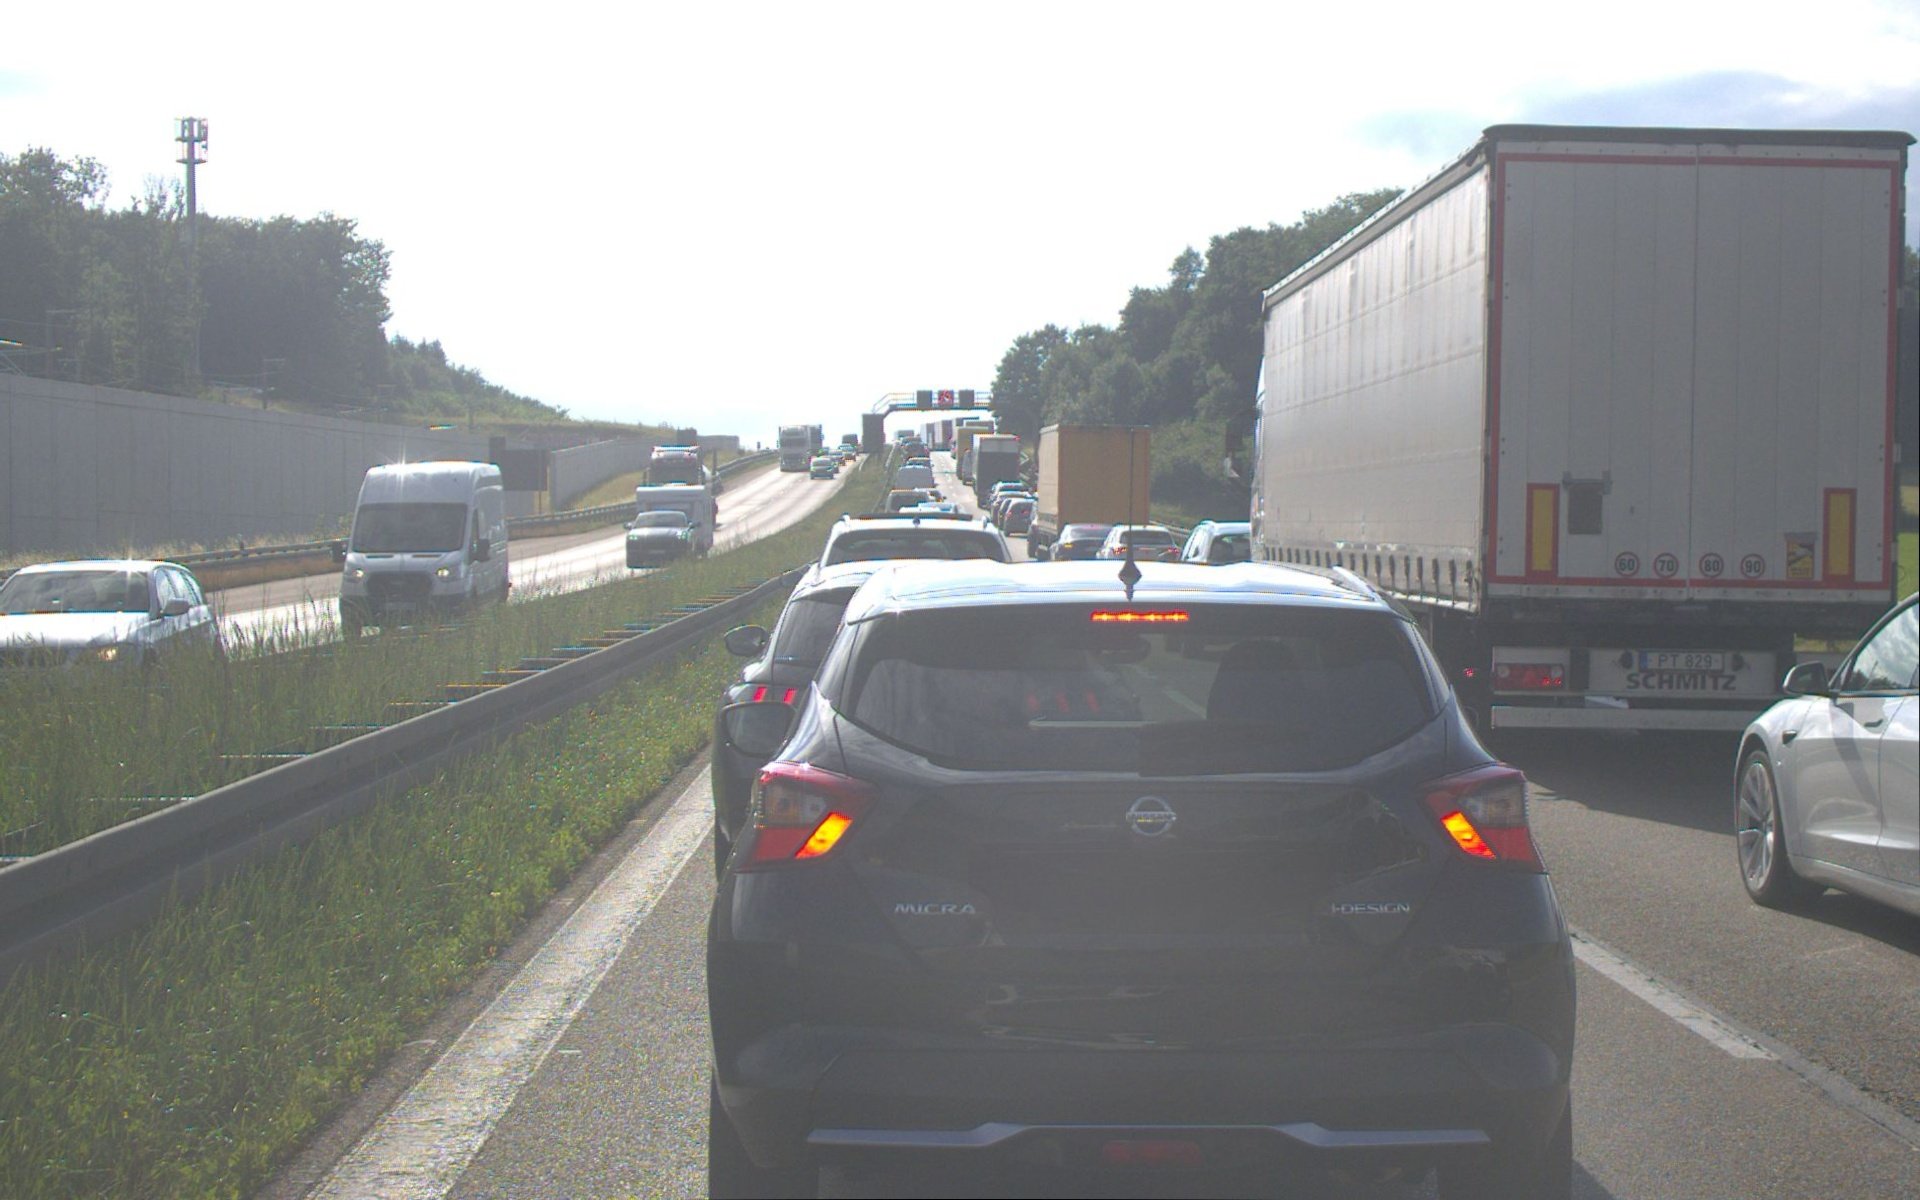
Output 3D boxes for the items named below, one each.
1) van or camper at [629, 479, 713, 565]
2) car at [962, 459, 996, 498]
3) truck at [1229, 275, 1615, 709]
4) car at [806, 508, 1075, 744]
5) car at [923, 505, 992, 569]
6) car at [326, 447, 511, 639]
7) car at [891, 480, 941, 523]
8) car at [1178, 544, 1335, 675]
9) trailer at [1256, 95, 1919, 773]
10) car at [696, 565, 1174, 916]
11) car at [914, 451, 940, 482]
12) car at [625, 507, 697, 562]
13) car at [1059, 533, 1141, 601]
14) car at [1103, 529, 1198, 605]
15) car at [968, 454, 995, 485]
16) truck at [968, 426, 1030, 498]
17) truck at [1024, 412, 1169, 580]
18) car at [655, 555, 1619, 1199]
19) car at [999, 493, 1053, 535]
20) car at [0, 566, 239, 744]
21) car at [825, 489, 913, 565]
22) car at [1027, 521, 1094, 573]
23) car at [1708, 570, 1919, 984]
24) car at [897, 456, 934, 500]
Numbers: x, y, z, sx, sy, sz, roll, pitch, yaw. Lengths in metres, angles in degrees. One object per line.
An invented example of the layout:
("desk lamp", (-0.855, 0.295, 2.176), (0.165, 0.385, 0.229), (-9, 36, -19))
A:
("van or camper", (-9.309, -2.491, 111.296), (2.252, 2.694, 7.171), (0, 1, -1))
("car", (1.102, -7.080, 200.171), (1.873, 2.151, 5.212), (0, 4, -1))
("truck", (4.503, -1.011, 34.580), (3.133, 4.002, 5.163), (1, 0, 0))
("car", (-0.151, 0.151, 26.132), (1.873, 1.638, 4.232), (0, 1, 0))
("car", (-0.082, -1.754, 94.457), (1.873, 1.638, 4.233), (0, 2, 0))
("car", (-8.442, -0.893, 54.062), (2.104, 2.860, 5.637), (0, 1, -1))
("car", (-1.742, -3.885, 134.926), (1.873, 1.638, 4.233), (0, 2, -2))
("car", (3.788, 0.086, 44.525), (1.697, 1.605, 4.437), (0, 1, 1))
("trailer", (4.507, -0.986, 27.105), (3.130, 3.997, 13.366), (1, 0, 0))
("car", (-0.114, 0.529, 15.605), (1.873, 1.353, 4.232), (0, 1, 0))
("car", (-2.401, -9.782, 251.629), (1.873, 2.151, 5.212), (0, 4, -1))
("car", (-9.154, -1.994, 105.525), (1.910, 1.666, 4.362), (0, 1, -1))
("car", (3.524, -0.858, 87.341), (1.873, 1.638, 4.232), (0, 1, 0))
("car", (4.288, -0.769, 77.820), (1.873, 1.638, 4.233), (0, 2, 0))
("car", (1.600, -9.680, 255.283), (1.873, 2.151, 5.212), (0, 4, -1))
("truck", (2.497, -9.025, 225.762), (3.464, 4.561, 12.443), (1, 2, -2))
("truck", (3.867, -2.899, 100.719), (3.296, 4.562, 12.442), (1, 0, -2))
("car", (0.312, 0.616, 8.447), (1.773, 1.446, 4.232), (0, 1, 0))
("car", (2.731, -3.592, 143.228), (1.873, 1.638, 4.233), (0, 2, -4))
("car", (-7.741, 0.433, 30.394), (1.873, 1.446, 4.232), (0, 1, 0))
("car", (-2.005, -1.655, 76.591), (1.873, 1.638, 4.233), (0, 2, 0))
("car", (3.249, -1.731, 111.953), (1.873, 1.638, 4.233), (0, 1, -2))
("car", (4.169, 0.611, 12.551), (1.788, 1.389, 4.437), (0, 1, -2))
("car", (-2.308, -6.359, 178.435), (1.873, 2.151, 5.212), (0, 4, -1))
